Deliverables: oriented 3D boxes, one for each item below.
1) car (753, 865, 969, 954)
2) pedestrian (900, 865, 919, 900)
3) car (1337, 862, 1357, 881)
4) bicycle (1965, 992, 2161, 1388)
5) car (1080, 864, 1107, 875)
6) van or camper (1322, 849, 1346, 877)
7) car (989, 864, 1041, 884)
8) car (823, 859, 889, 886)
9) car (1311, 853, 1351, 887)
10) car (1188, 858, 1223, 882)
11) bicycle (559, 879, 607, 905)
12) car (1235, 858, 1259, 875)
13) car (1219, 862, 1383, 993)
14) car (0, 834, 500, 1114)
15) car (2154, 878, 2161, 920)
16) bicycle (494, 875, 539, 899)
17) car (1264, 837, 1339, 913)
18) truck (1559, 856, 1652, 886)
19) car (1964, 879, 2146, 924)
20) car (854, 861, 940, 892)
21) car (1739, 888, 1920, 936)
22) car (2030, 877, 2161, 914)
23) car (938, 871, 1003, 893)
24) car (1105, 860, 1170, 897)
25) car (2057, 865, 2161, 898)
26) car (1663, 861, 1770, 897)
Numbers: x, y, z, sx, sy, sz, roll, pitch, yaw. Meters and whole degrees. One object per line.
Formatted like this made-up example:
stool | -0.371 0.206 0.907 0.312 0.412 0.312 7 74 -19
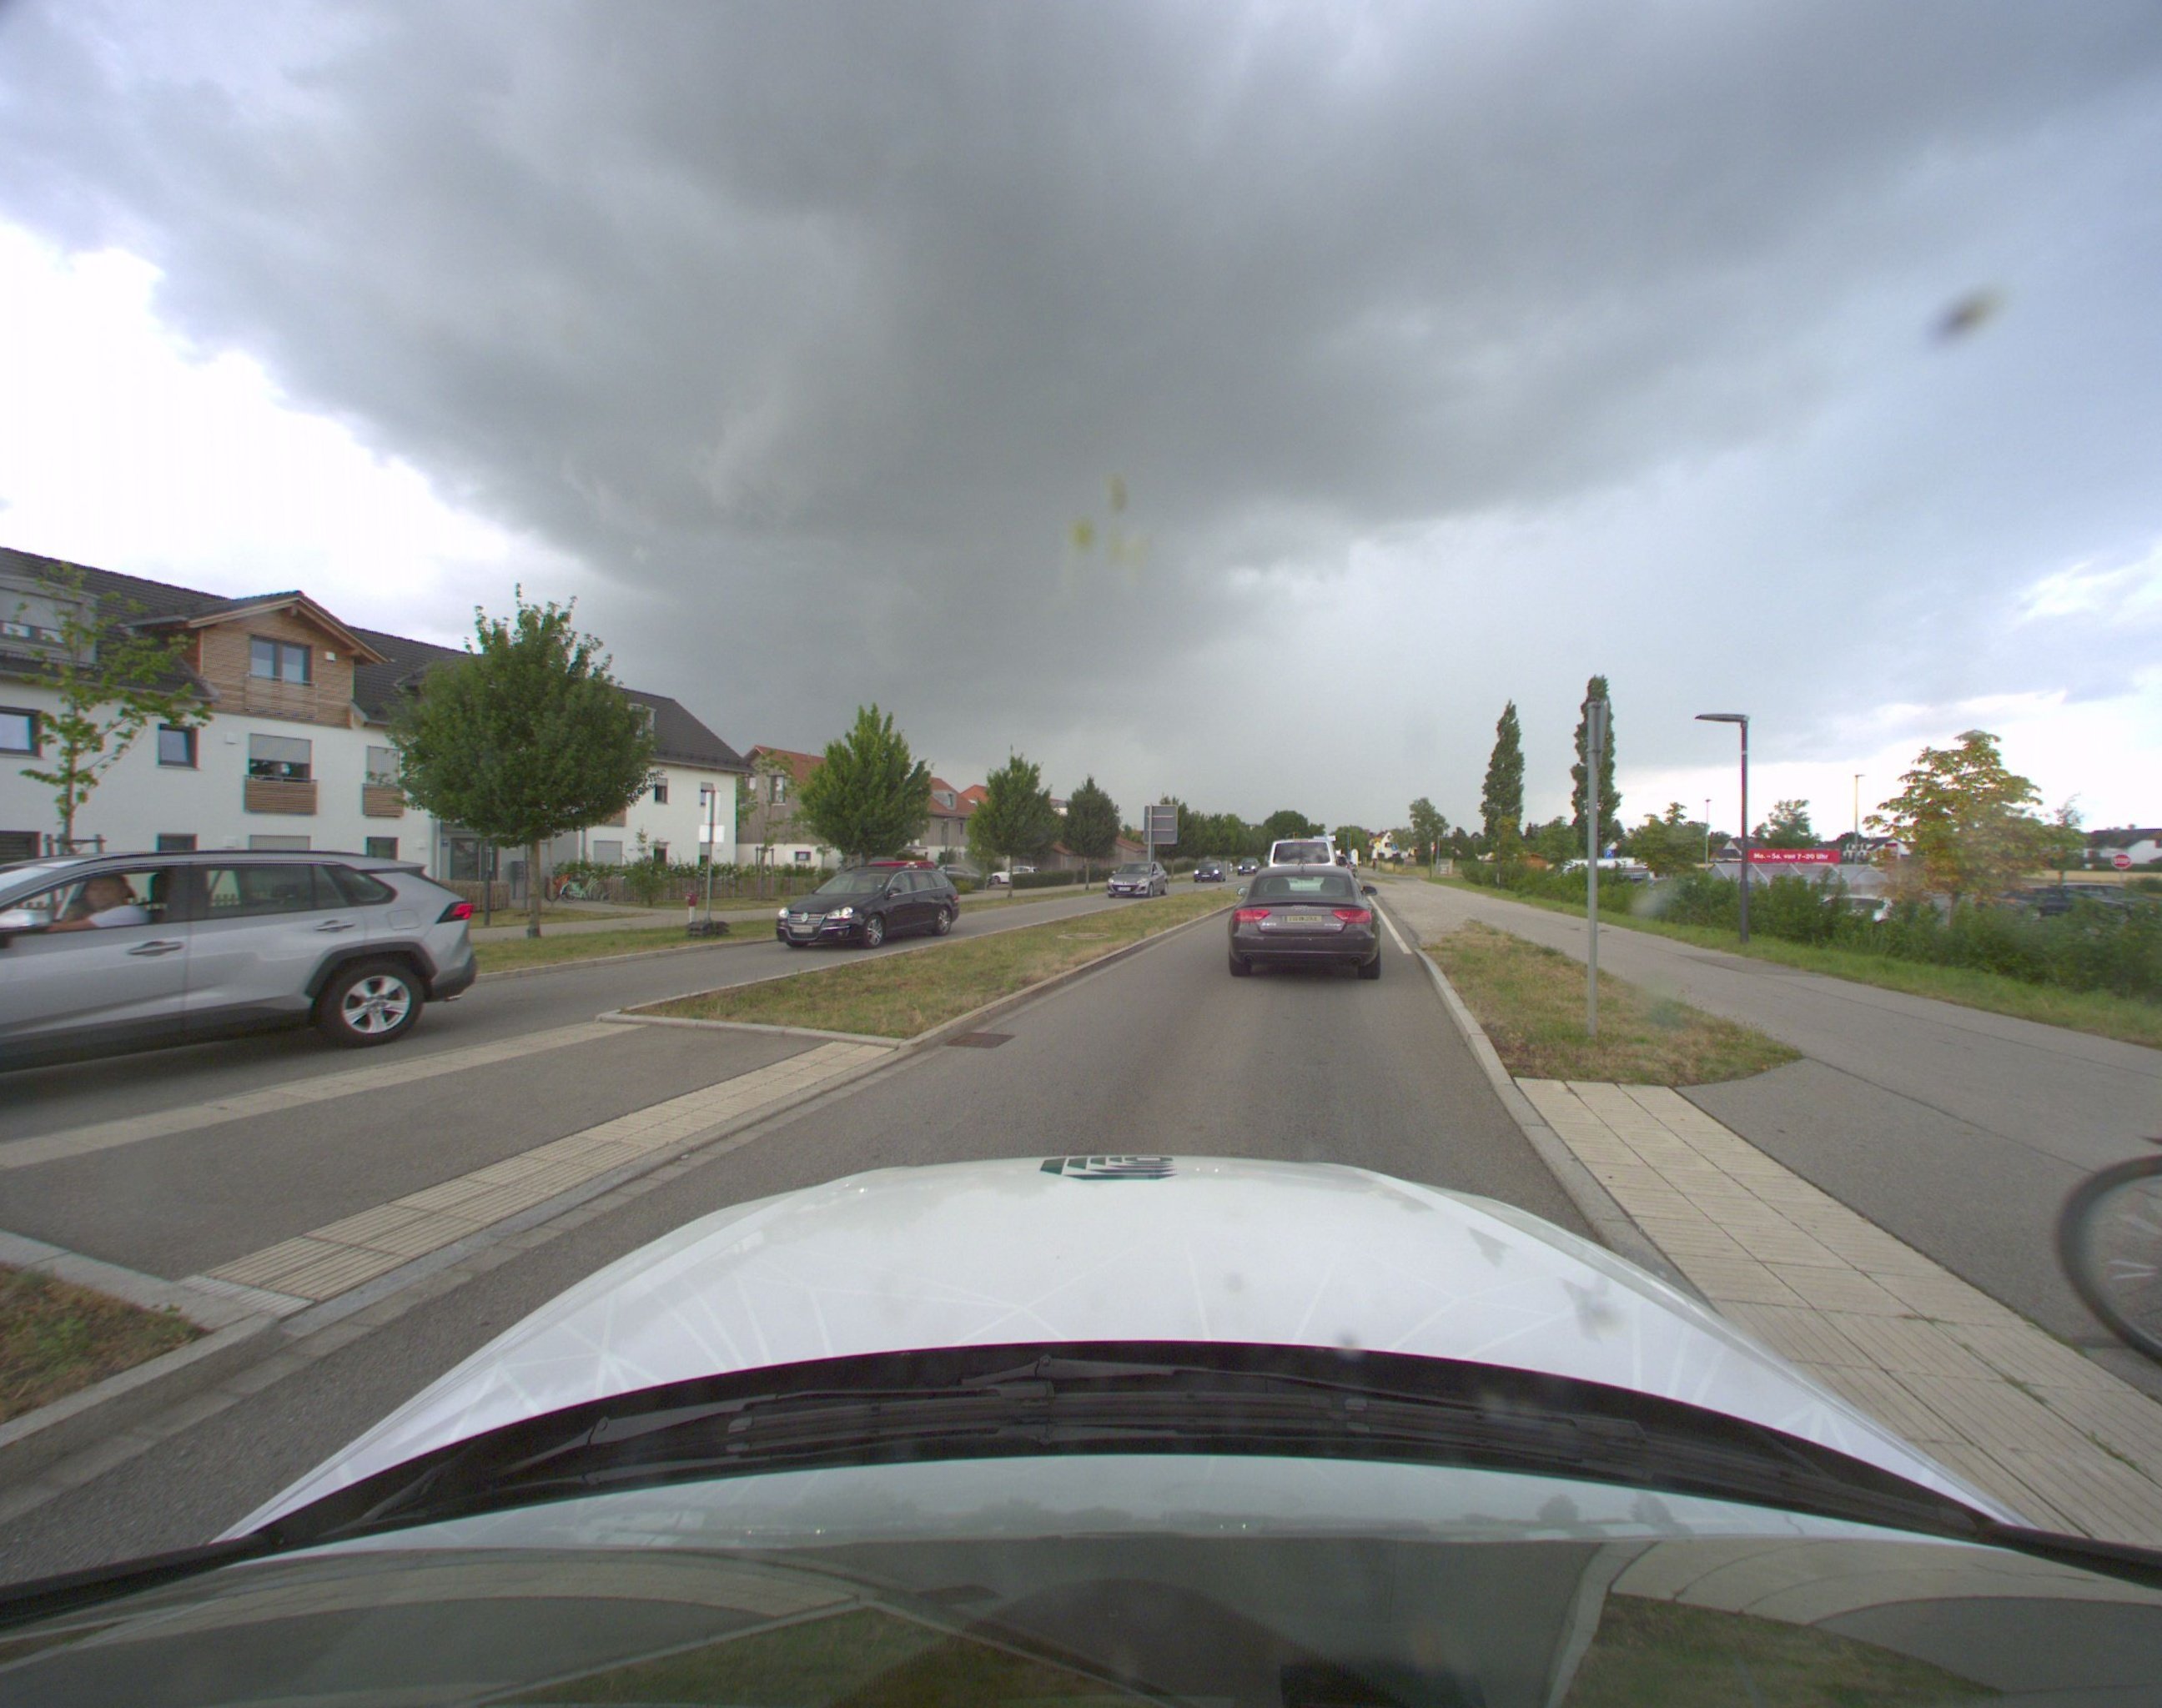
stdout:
car | -3.986 0.953 15.631 1.739 1.416 4.477 -2 -1 19
pedestrian | -7.824 1.296 37.130 0.577 1.559 0.663 0 0 16
car | 20.373 1.323 62.334 1.427 1.372 3.528 1 -1 18
bicycle | 3.399 0.920 1.947 1.692 0.946 0.500 -2 -1 44
car | 1.202 1.449 77.827 2.455 1.028 1.189 0 0 12
van or camper | 30.733 1.115 98.937 2.604 3.324 6.851 1 -1 17
car | -5.226 1.586 64.392 3.702 1.482 1.693 1 0 14
car | -15.497 1.279 56.318 1.976 1.772 4.489 0 -1 23
car | 12.428 0.755 40.341 1.762 1.618 4.019 0 0 18
car | 8.403 1.047 54.703 1.853 1.574 4.017 0 0 16
bicycle | -17.851 1.356 29.225 0.364 0.843 1.554 3 0 20
car | 15.235 1.120 74.520 1.853 1.574 4.017 0 0 16
car | 3.023 0.834 11.183 1.770 1.391 4.150 1 0 16
car | -7.278 0.755 5.914 1.977 1.704 4.658 -1 -1 20
car | 46.266 1.872 32.485 3.956 1.706 1.723 1 -1 17
bicycle | -20.726 1.201 29.921 0.364 0.843 1.344 3 0 20
car | 6.205 0.539 22.861 1.853 1.934 4.017 1 0 16
truck | 34.523 1.090 53.746 4.763 1.872 2.007 1 -1 13
car | 40.495 1.952 34.011 4.521 1.664 2.009 0 0 17
car | -10.621 1.252 47.039 4.492 1.680 2.010 0 0 21
car | 25.841 1.956 28.315 4.199 1.440 2.009 0 0 17
car | 48.025 1.935 38.210 4.277 1.578 1.776 0 0 19
car | -7.451 1.872 55.042 3.885 1.315 1.850 1 0 15
car | 2.415 0.991 33.746 1.716 1.410 4.225 -1 -1 18
car | 65.811 1.714 51.972 3.953 1.837 2.010 3 0 21
car | 32.439 1.257 41.668 3.890 1.684 1.935 1 -1 16
